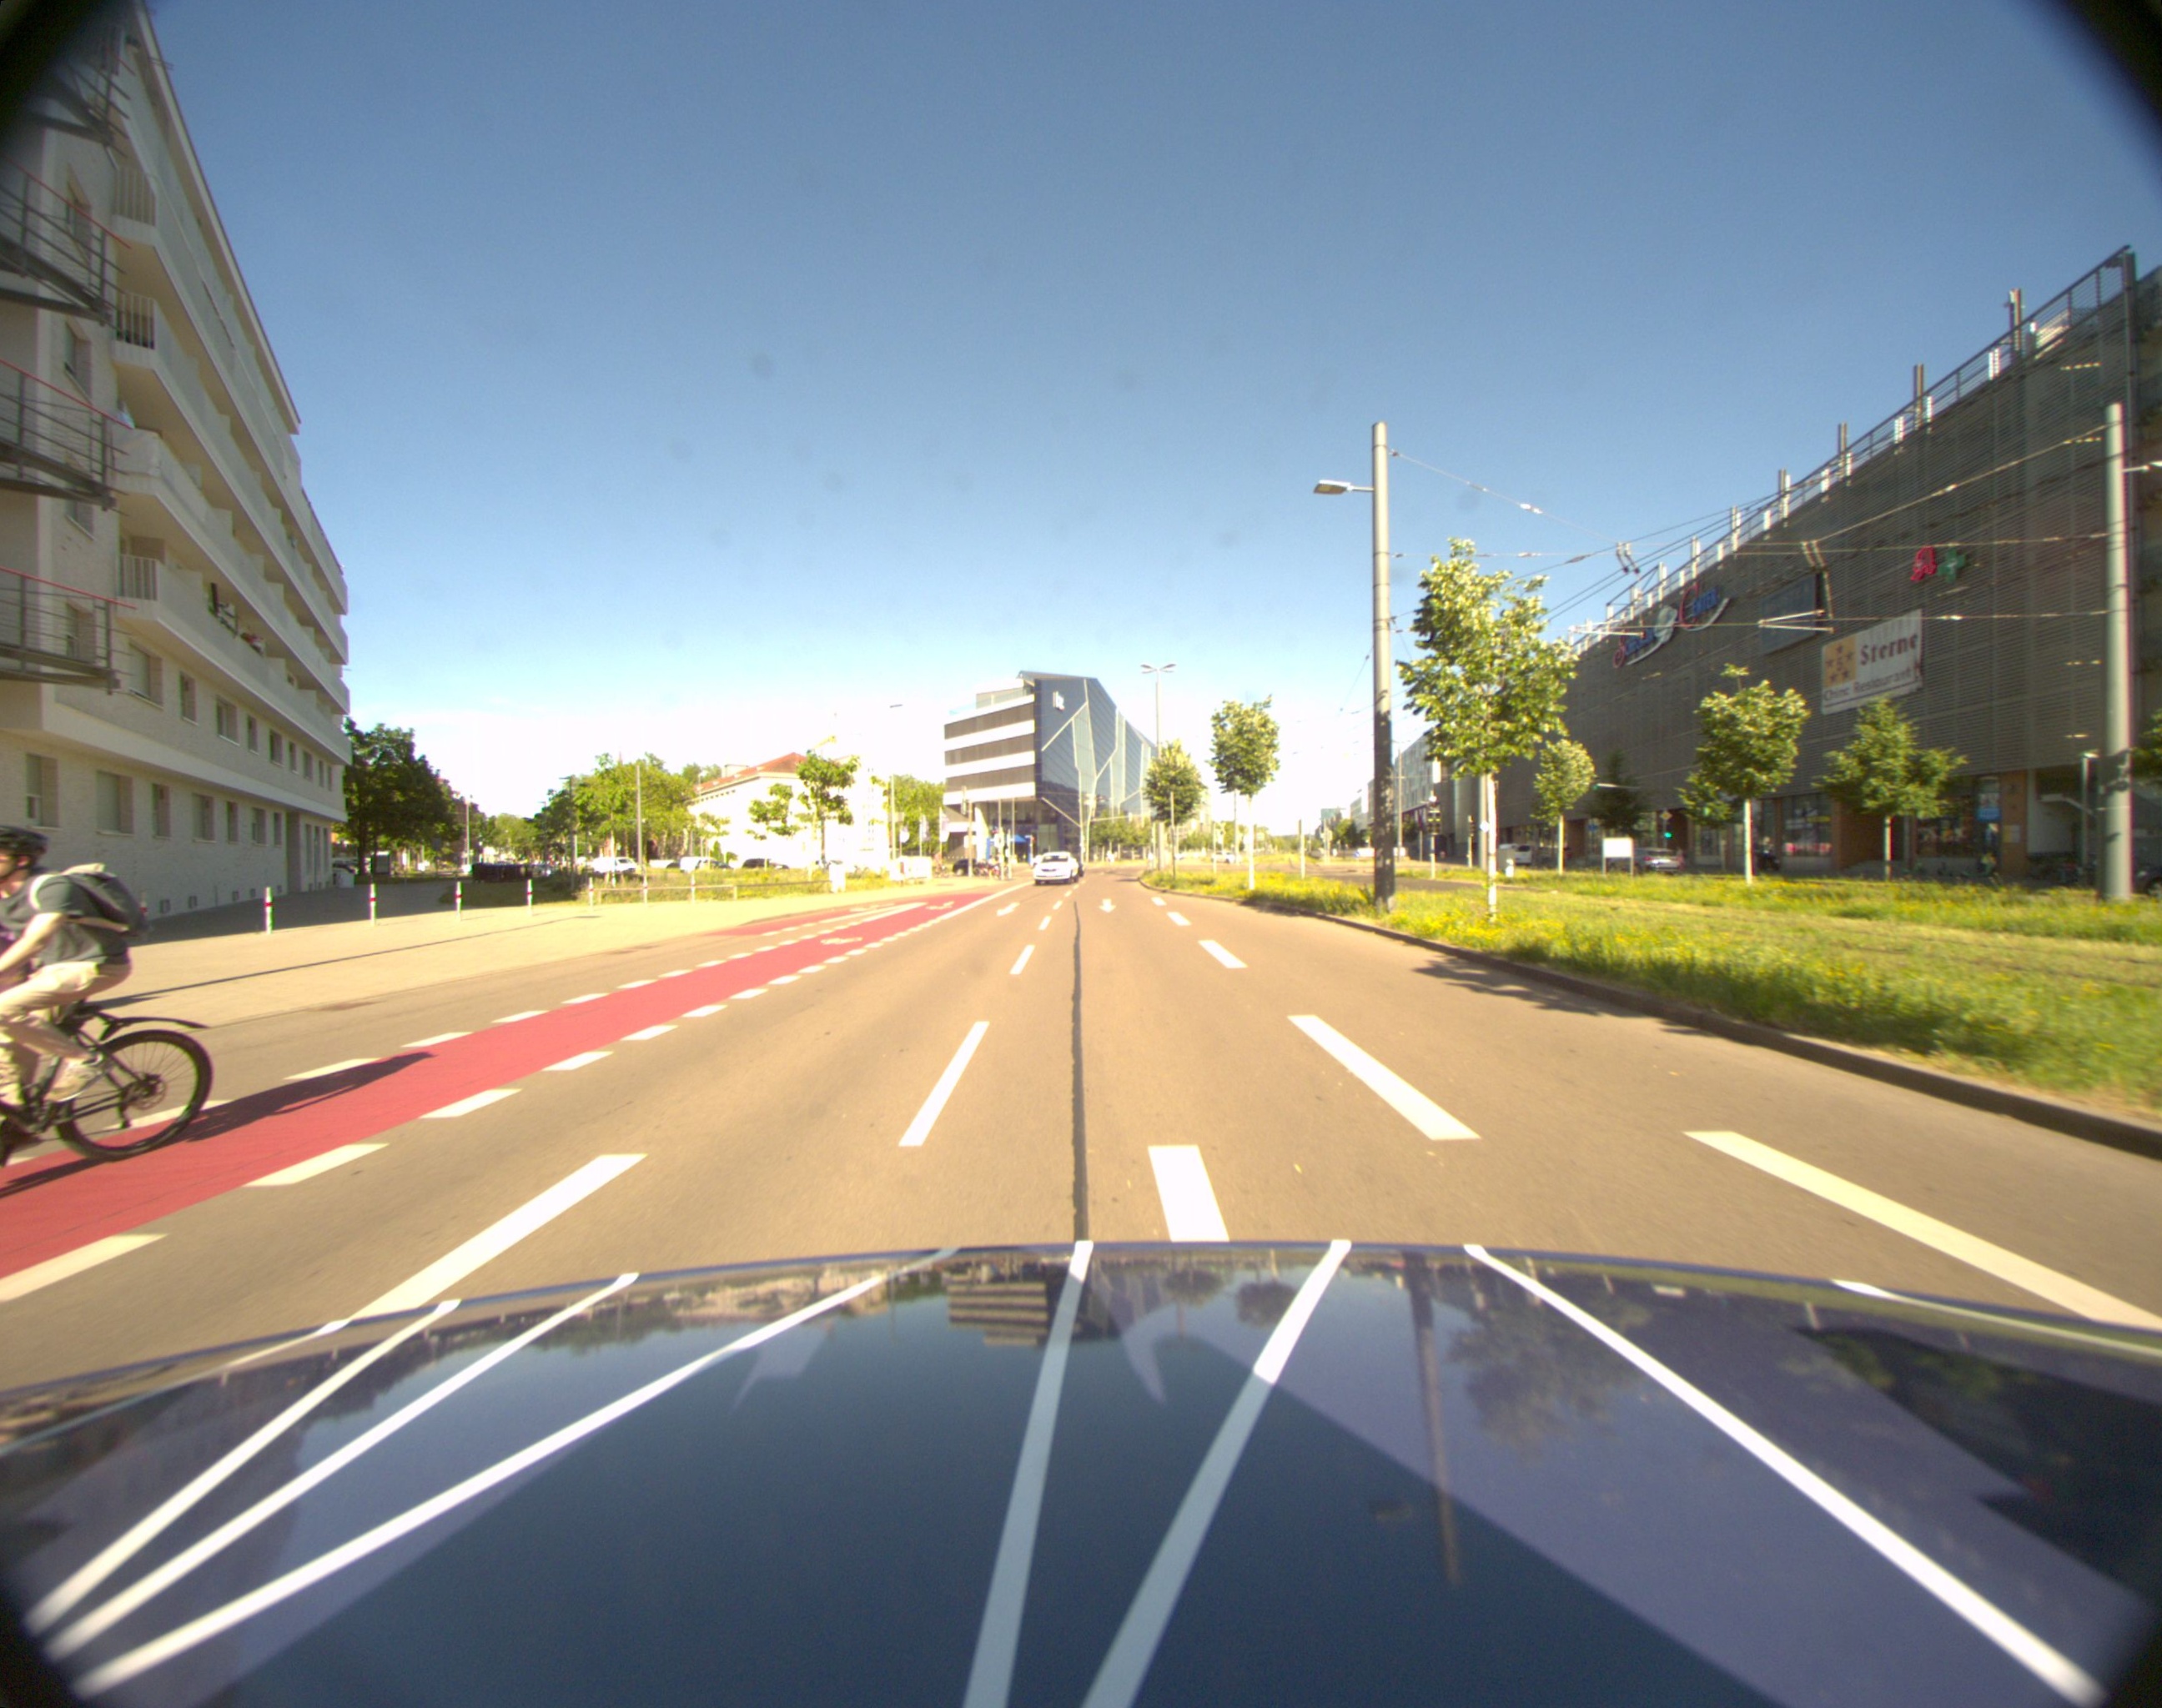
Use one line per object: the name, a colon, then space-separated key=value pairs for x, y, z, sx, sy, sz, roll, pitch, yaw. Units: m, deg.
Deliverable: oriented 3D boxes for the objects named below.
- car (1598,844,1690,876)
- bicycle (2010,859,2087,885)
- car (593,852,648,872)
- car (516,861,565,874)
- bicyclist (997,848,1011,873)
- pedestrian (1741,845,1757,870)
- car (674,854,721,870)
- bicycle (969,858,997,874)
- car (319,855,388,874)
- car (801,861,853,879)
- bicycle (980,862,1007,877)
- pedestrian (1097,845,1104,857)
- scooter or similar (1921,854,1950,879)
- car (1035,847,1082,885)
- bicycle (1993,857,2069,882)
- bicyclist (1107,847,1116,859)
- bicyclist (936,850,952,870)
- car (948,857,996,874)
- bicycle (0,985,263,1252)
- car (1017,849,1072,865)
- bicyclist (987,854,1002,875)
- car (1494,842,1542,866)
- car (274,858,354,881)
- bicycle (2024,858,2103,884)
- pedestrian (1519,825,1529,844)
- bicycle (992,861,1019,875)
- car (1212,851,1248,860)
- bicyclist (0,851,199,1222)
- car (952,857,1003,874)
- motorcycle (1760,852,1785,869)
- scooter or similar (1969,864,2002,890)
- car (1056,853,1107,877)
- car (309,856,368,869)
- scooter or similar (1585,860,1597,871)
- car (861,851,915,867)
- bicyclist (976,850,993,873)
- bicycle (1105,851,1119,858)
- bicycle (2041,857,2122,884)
car: x=31.275 y=0.305 z=42.374 sx=1.998 sy=1.671 sz=4.539 roll=-1 pitch=1 yaw=4
bicycle: x=38.517 y=0.718 z=30.264 sx=2.177 sy=0.949 sz=0.493 roll=-2 pitch=1 yaw=8
car: x=-45.115 y=0.776 z=74.456 sx=4.645 sy=1.970 sz=1.877 roll=0 pitch=1 yaw=16
car: x=-56.450 y=1.396 z=79.340 sx=4.644 sy=1.263 sz=1.877 roll=0 pitch=1 yaw=21
bicyclist: x=-5.668 y=0.482 z=55.802 sx=0.905 sy=1.788 sz=0.550 roll=1 pitch=0 yaw=8
pedestrian: x=41.024 y=0.203 z=46.660 sx=0.490 sy=1.510 sz=0.650 roll=0 pitch=1 yaw=18
car: x=-38.254 y=0.815 z=75.813 sx=3.991 sy=1.547 sz=1.877 roll=0 pitch=1 yaw=19
bicycle: x=-7.408 y=0.875 z=57.420 sx=2.006 sy=1.098 sz=0.698 roll=3 pitch=-2 yaw=19
car: x=-72.811 y=1.016 z=76.152 sx=1.729 sy=1.761 sz=4.799 roll=0 pitch=1 yaw=15
car: x=-22.538 y=1.407 z=67.425 sx=3.992 sy=1.547 sz=1.877 roll=0 pitch=1 yaw=14
bicycle: x=-5.901 y=1.054 z=51.217 sx=1.704 sy=0.948 sz=0.697 roll=1 pitch=0 yaw=13
pedestrian: x=2.624 y=-0.400 z=102.775 sx=0.855 sy=1.547 sz=0.614 roll=0 pitch=1 yaw=19
scooter or similar: x=40.820 y=0.585 z=36.299 sx=0.276 sy=1.096 sz=1.207 roll=0 pitch=2 yaw=16
car: x=-1.117 y=0.575 z=39.620 sx=1.873 sy=1.621 sz=4.337 roll=-1 pitch=3 yaw=6
bicycle: x=38.518 y=0.614 z=30.829 sx=2.177 sy=0.949 sz=0.493 roll=-2 pitch=1 yaw=8
bicyclist: x=3.697 y=-0.128 z=92.029 sx=0.760 sy=1.402 sz=0.773 roll=0 pitch=1 yaw=26
bicyclist: x=-9.368 y=0.395 z=51.978 sx=0.698 sy=1.369 sz=0.736 roll=2 pitch=0 yaw=-44
car: x=-9.752 y=1.004 z=67.838 sx=3.829 sy=1.423 sz=1.670 roll=-1 pitch=4 yaw=13
bicycle: x=-5.354 y=1.315 z=3.581 sx=0.827 sy=1.031 sz=1.892 roll=-2 pitch=0 yaw=4
car: x=-3.876 y=0.341 z=81.133 sx=5.534 sy=1.642 sz=1.816 roll=0 pitch=1 yaw=21
bicyclist: x=-5.815 y=0.724 z=51.149 sx=0.826 sy=1.395 sz=0.590 roll=1 pitch=0 yaw=13
car: x=37.132 y=-0.015 z=64.683 sx=2.224 sy=2.002 sz=5.261 roll=-1 pitch=1 yaw=14
car: x=-61.245 y=1.228 z=60.777 sx=1.996 sy=1.652 sz=4.004 roll=-1 pitch=1 yaw=15
bicycle: x=38.427 y=0.683 z=29.741 sx=2.177 sy=0.949 sz=0.493 roll=-2 pitch=1 yaw=8
pedestrian: x=41.639 y=-1.806 z=71.426 sx=0.589 sy=1.741 sz=0.625 roll=-1 pitch=1 yaw=-5
bicycle: x=-5.529 y=1.019 z=55.783 sx=1.893 sy=1.032 sz=0.607 roll=1 pitch=0 yaw=8
car: x=17.388 y=0.159 z=88.810 sx=2.003 sy=1.084 sz=3.990 roll=-1 pitch=1 yaw=-29
bicyclist: x=-5.332 y=0.844 z=3.676 sx=0.808 sy=1.683 sz=1.051 roll=-2 pitch=1 yaw=4
car: x=-8.665 y=0.958 z=63.673 sx=3.830 sy=1.425 sz=1.588 roll=0 pitch=1 yaw=16
motorcycle: x=41.862 y=0.388 z=46.015 sx=0.401 sy=1.032 sz=1.621 roll=0 pitch=1 yaw=14
scooter or similar: x=40.046 y=1.016 z=33.646 sx=0.276 sy=1.096 sz=1.207 roll=0 pitch=2 yaw=16
car: x=-0.015 y=0.735 z=53.253 sx=1.878 sy=1.547 sz=3.990 roll=-1 pitch=1 yaw=-29
car: x=-85.539 y=0.976 z=87.640 sx=1.995 sy=1.453 sz=4.408 roll=0 pitch=1 yaw=25
scooter or similar: x=40.706 y=0.929 z=60.630 sx=0.301 sy=0.846 sz=1.228 roll=0 pitch=1 yaw=11
car: x=-17.885 y=0.468 z=70.352 sx=4.475 sy=1.423 sz=1.843 roll=0 pitch=2 yaw=14
bicyclist: x=-7.305 y=0.586 z=57.384 sx=1.001 sy=1.645 sz=0.596 roll=4 pitch=1 yaw=20
bicycle: x=3.738 y=0.067 z=92.117 sx=0.768 sy=0.835 sz=2.572 roll=0 pitch=1 yaw=26
bicycle: x=38.356 y=0.626 z=29.139 sx=2.177 sy=0.949 sz=0.493 roll=-2 pitch=1 yaw=8
